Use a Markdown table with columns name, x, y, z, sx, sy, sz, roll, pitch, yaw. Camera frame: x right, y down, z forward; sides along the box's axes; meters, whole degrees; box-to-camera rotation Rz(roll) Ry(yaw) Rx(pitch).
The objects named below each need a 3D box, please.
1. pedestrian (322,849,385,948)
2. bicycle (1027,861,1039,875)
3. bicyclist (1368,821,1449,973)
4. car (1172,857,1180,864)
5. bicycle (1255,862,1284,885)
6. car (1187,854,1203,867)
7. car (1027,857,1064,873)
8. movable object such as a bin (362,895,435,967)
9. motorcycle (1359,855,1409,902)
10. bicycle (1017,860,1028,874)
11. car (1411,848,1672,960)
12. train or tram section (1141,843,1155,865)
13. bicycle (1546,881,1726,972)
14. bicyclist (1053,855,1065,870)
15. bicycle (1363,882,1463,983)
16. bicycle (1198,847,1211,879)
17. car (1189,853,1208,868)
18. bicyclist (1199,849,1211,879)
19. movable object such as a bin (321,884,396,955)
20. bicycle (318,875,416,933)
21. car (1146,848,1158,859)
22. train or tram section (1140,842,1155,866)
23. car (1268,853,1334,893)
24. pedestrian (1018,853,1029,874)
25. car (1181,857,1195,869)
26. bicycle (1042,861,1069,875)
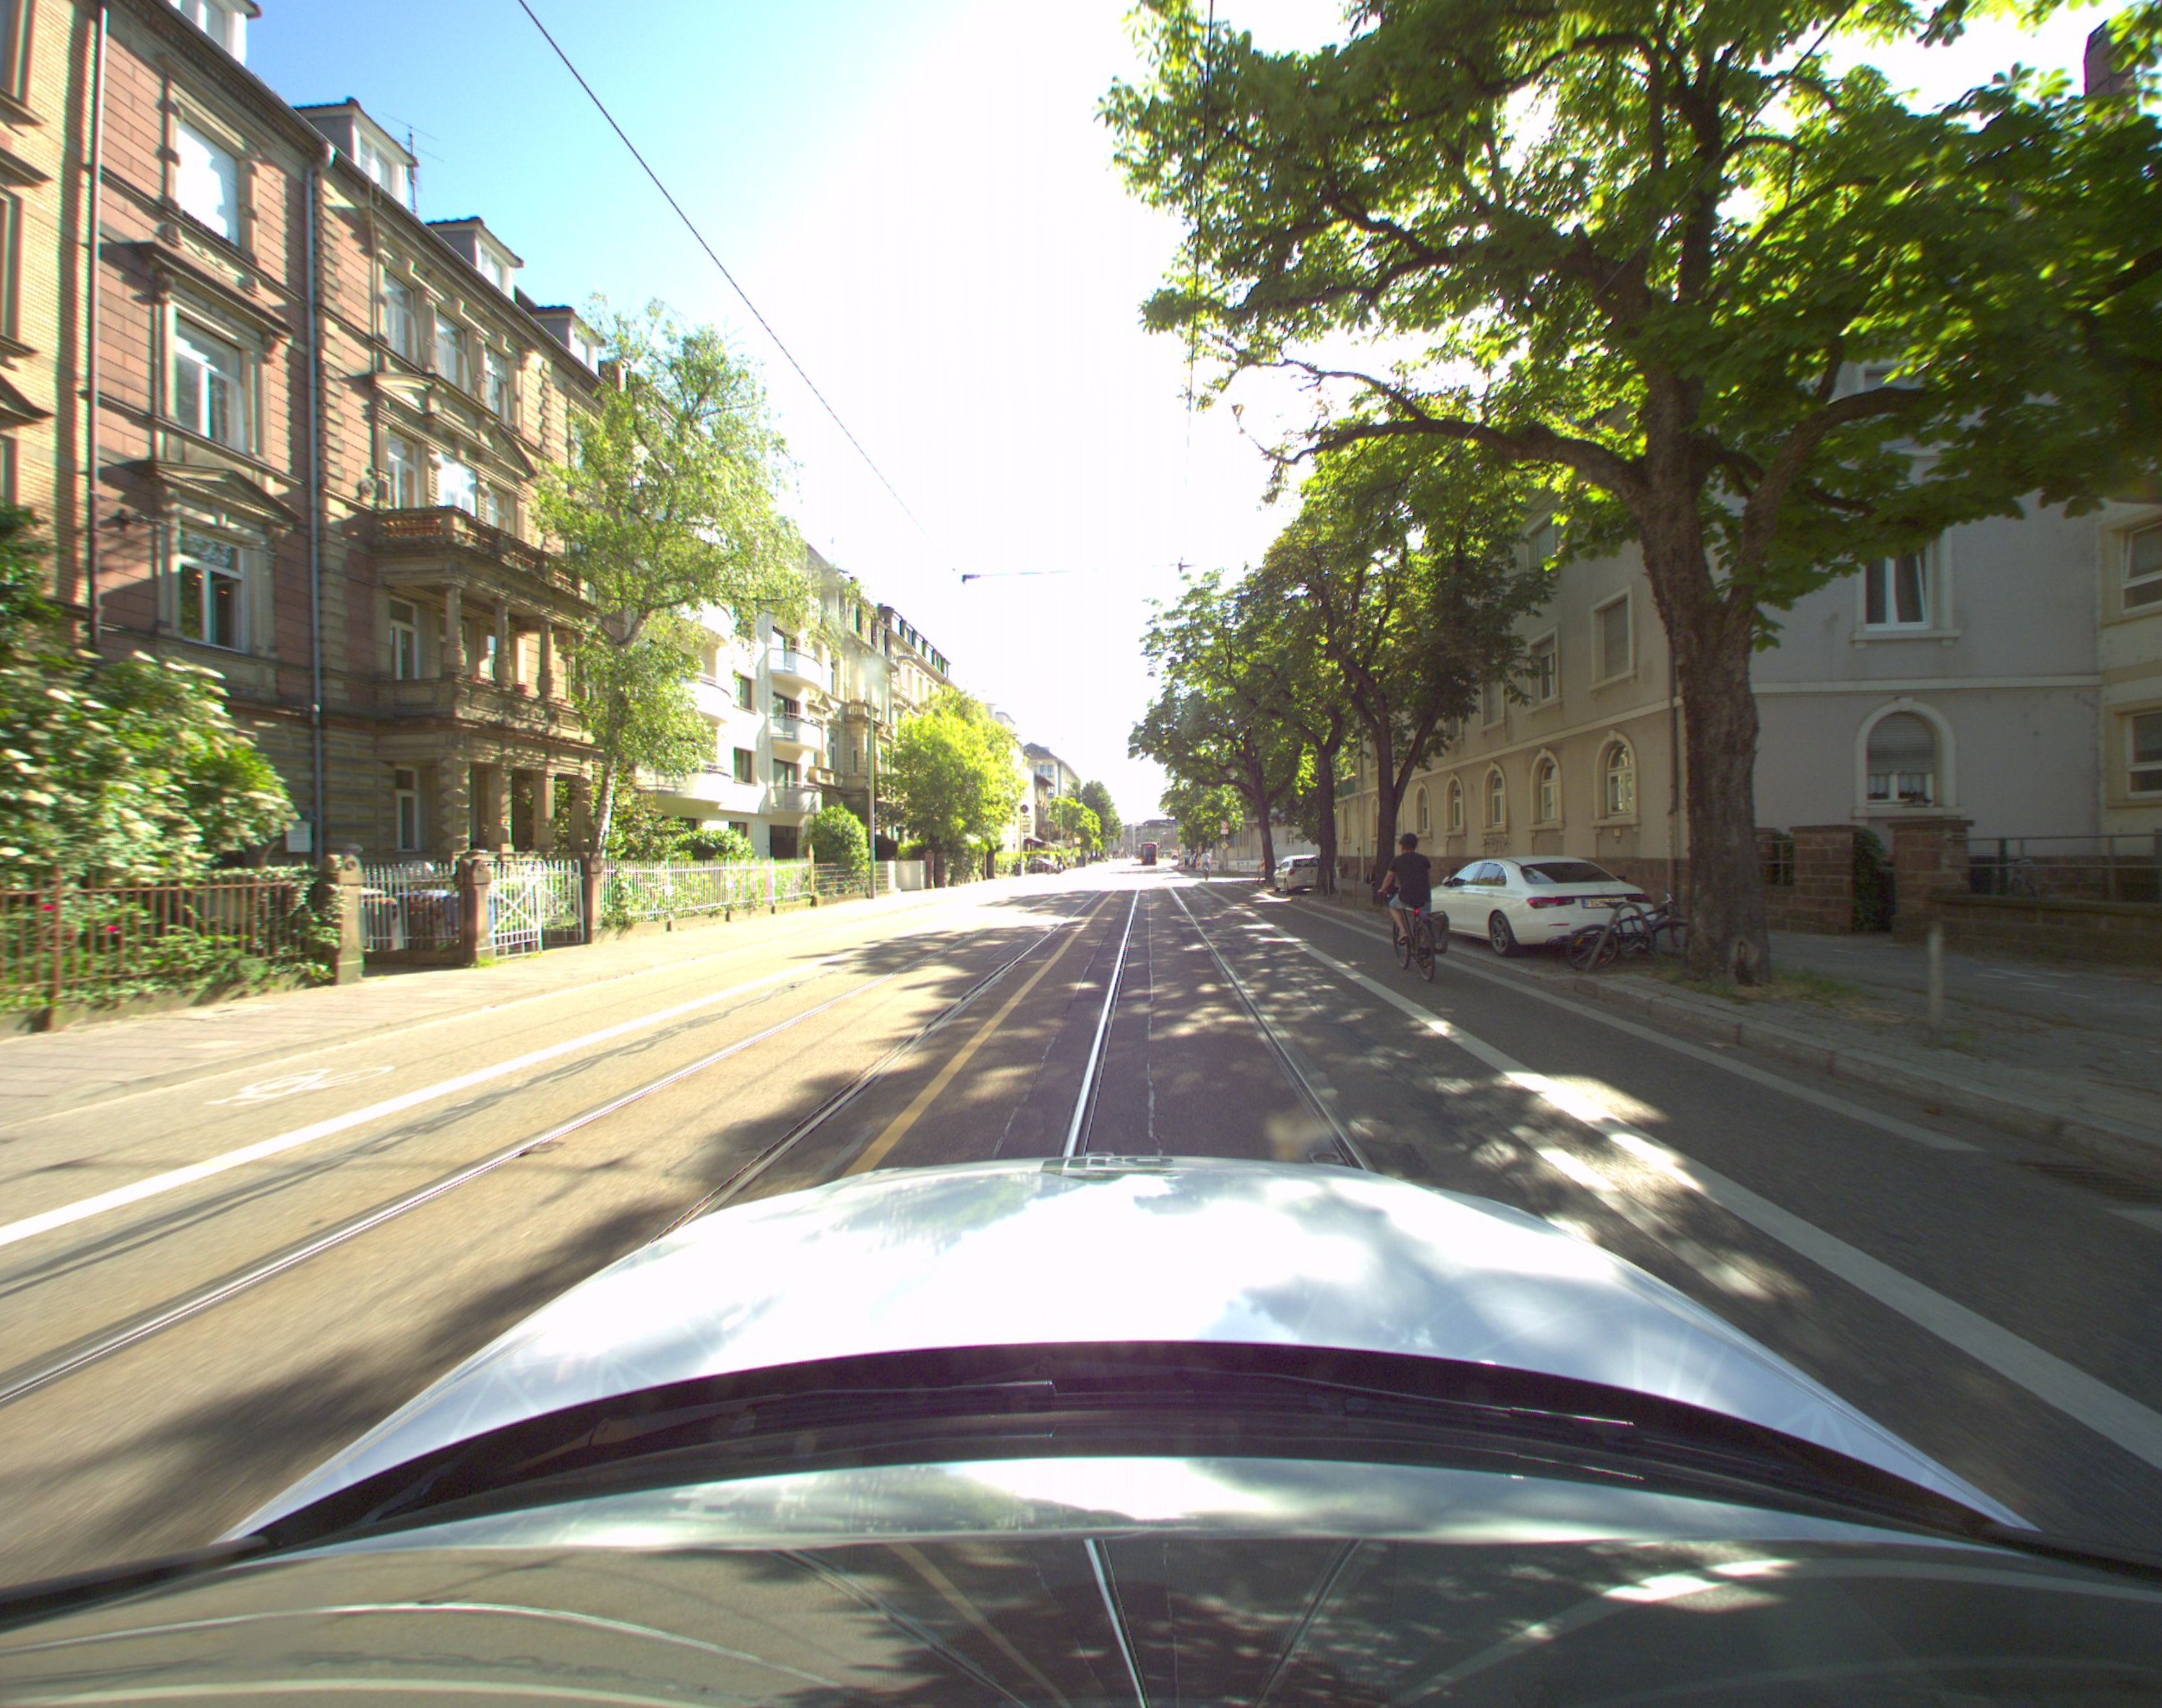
| name | x | y | z | sx | sy | sz | roll | pitch | yaw |
| --- | --- | --- | --- | --- | --- | --- | --- | --- | --- |
| pedestrian | -12.619 | 0.751 | 14.137 | 0.511 | 1.673 | 0.608 | 1 | 0 | 4 |
| bicycle | -3.812 | 1.109 | 64.283 | 0.633 | 1.069 | 1.823 | 1 | 0 | -13 |
| bicyclist | 4.157 | 0.526 | 10.382 | 0.724 | 1.848 | 0.837 | 1 | 0 | 4 |
| car | 24.803 | 1.703 | 212.366 | 1.863 | 1.662 | 3.519 | 1 | 0 | 4 |
| bicycle | 8.644 | 0.894 | 37.377 | 1.261 | 1.024 | 0.706 | 1 | -1 | 12 |
| car | 13.699 | 0.750 | 98.154 | 1.746 | 1.552 | 3.681 | 1 | 0 | 4 |
| car | -3.345 | 1.085 | 76.278 | 1.768 | 1.420 | 3.540 | 1 | -2 | -36 |
| movable object such as a bin | -10.620 | 1.192 | 12.685 | 0.582 | 1.054 | 0.620 | 1 | 0 | 4 |
| motorcycle | 8.580 | 0.664 | 23.130 | 0.706 | 1.243 | 2.187 | -2 | 0 | 4 |
| bicycle | -4.588 | 1.032 | 63.556 | 0.633 | 1.069 | 1.824 | 1 | 0 | -12 |
| car | 6.999 | 0.653 | 13.047 | 1.622 | 1.436 | 4.666 | -2 | 0 | 1 |
| train or tram section | 10.606 | 0.001 | 129.489 | 2.144 | 3.431 | 6.619 | 1 | 0 | 4 |
| bicycle | 6.988 | 0.905 | 10.310 | 1.784 | 1.019 | 0.621 | -3 | 0 | 3 |
| bicyclist | -1.817 | 0.698 | 68.405 | 0.765 | 1.291 | 0.737 | 1 | 0 | 20 |
| bicycle | 4.189 | 0.945 | 10.410 | 0.688 | 1.112 | 1.721 | 1 | 0 | 5 |
| bicycle | 7.560 | 0.535 | 49.789 | 0.659 | 1.859 | 2.263 | 1 | 0 | 6 |
| car | 12.913 | 0.686 | 89.561 | 1.746 | 1.552 | 3.681 | 1 | 0 | 4 |
| bicyclist | 7.494 | 0.578 | 49.152 | 0.642 | 1.796 | 0.957 | 1 | 0 | 4 |
| movable object such as a bin | -11.263 | 1.007 | 12.712 | 0.582 | 1.054 | 0.620 | 1 | 0 | 4 |
| bicycle | -12.937 | 0.895 | 14.770 | 1.453 | 1.012 | 0.424 | 1 | 0 | 5 |
| car | 13.320 | -0.147 | 152.566 | 1.986 | 2.013 | 4.002 | 1 | 0 | 2 |
| train or tram section | 10.081 | 0.007 | 122.863 | 2.144 | 3.431 | 6.619 | 1 | 0 | 4 |
| car | 8.502 | 0.684 | 31.812 | 1.741 | 1.420 | 4.004 | -2 | 0 | 4 |
| pedestrian | -4.666 | 0.748 | 66.543 | 0.766 | 1.712 | 0.670 | 1 | 0 | 4 |
| car | 15.033 | 1.255 | 114.263 | 1.746 | 1.552 | 3.681 | 0 | 0 | 4 |
| bicycle | -2.124 | 1.170 | 68.528 | 2.121 | 1.171 | 0.806 | 1 | 0 | 19 |
